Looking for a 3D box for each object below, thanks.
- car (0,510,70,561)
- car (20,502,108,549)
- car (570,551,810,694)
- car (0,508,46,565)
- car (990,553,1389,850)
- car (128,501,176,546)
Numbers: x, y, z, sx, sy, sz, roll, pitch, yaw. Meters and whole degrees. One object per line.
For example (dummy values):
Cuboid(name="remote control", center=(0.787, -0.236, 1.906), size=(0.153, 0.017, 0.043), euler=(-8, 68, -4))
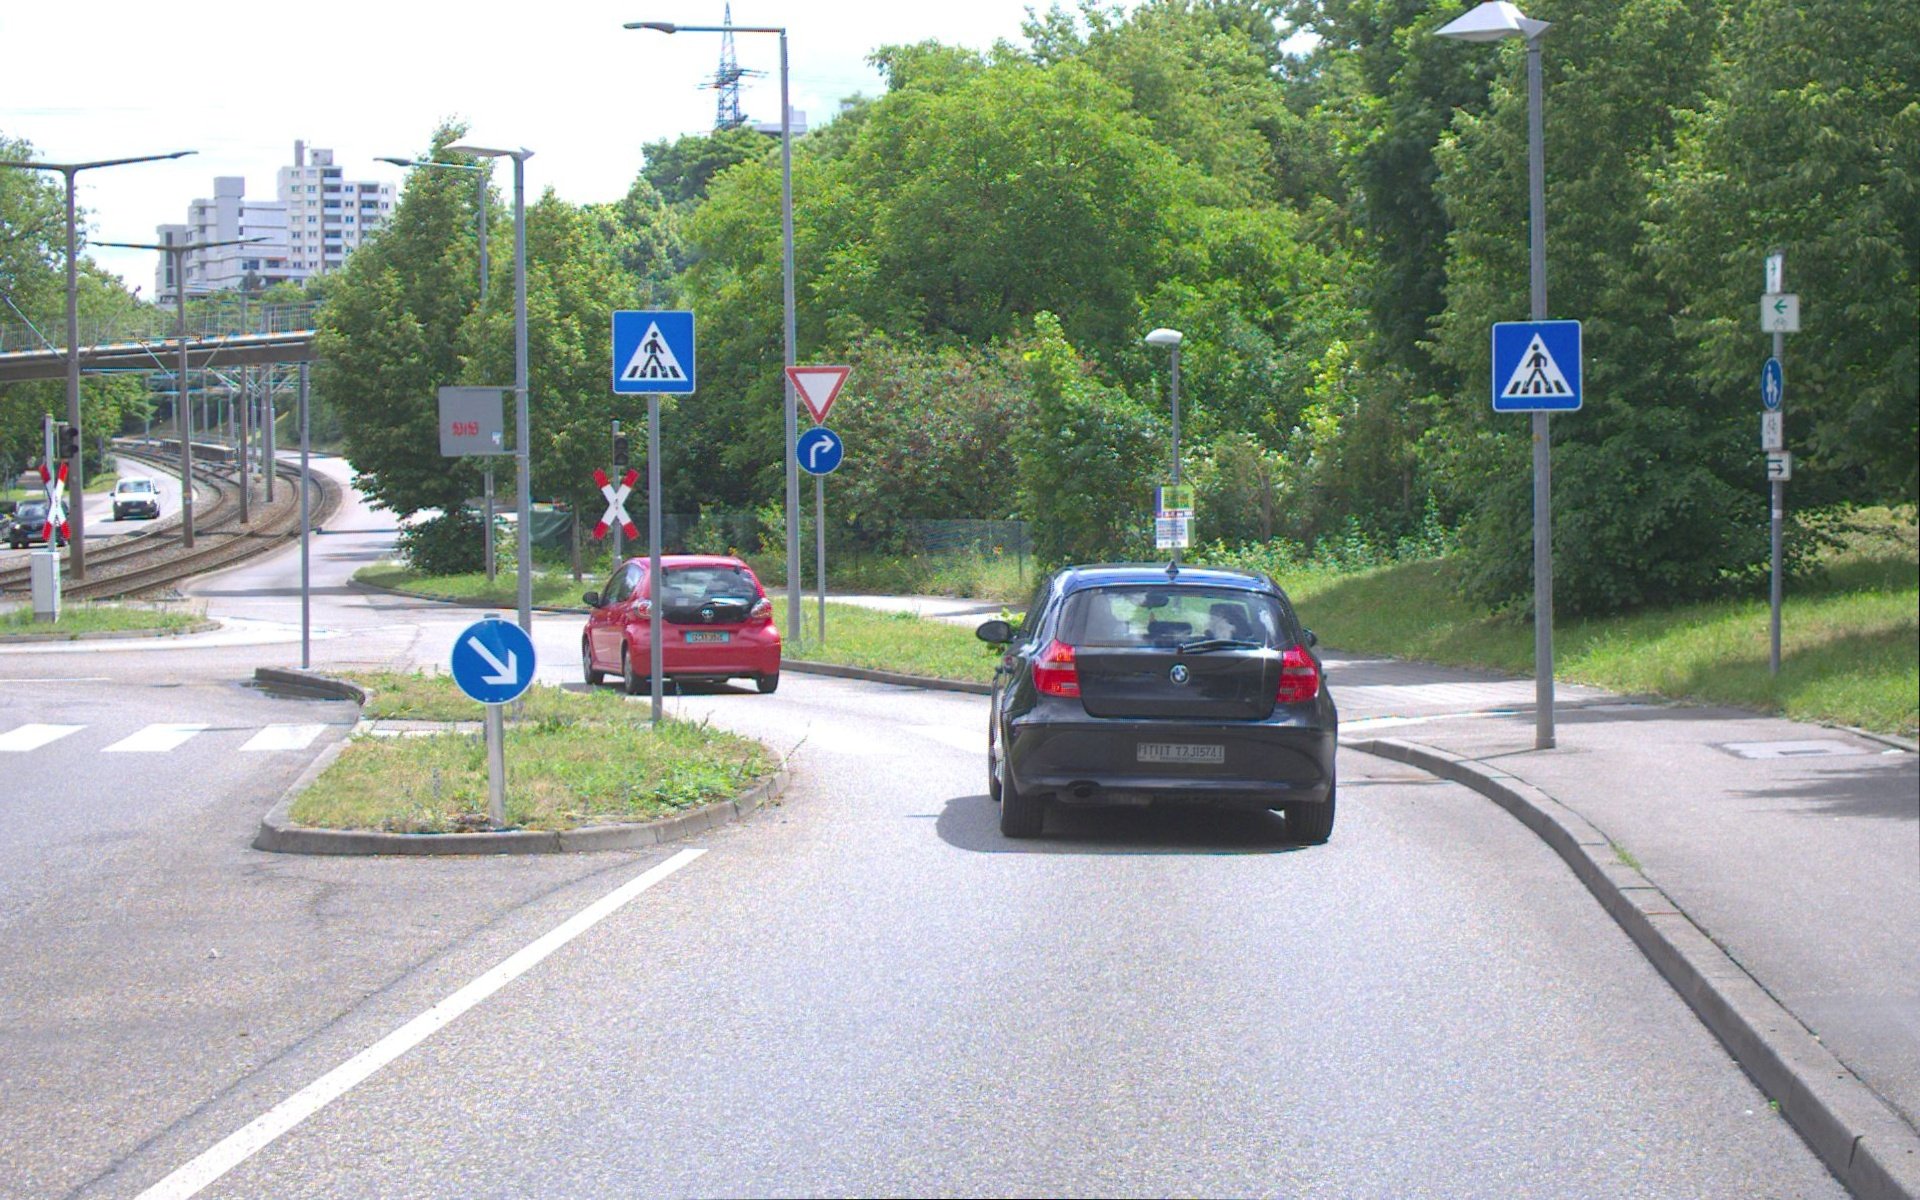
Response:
Cuboid(name="car", center=(-35.082, -2.452, 130.076), size=(1.993, 1.856, 4.001), euler=(-1, 2, -4))
Cuboid(name="car", center=(-31.087, -2.589, 119.409), size=(1.993, 1.592, 4.420), euler=(-1, 1, -2))
Cuboid(name="car", center=(-2.963, 0.226, 37.119), size=(1.765, 1.427, 3.480), euler=(-2, 1, -18))
Cuboid(name="car", center=(-34.839, -2.319, 125.417), size=(1.993, 2.006, 4.001), euler=(0, 2, -2))
Cuboid(name="car", center=(1.152, 0.501, 18.990), size=(1.815, 1.416, 4.000), euler=(-2, 0, -1))
Cuboid(name="car", center=(-36.816, -3.488, 156.637), size=(1.993, 2.007, 4.001), euler=(-1, 1, -14))
